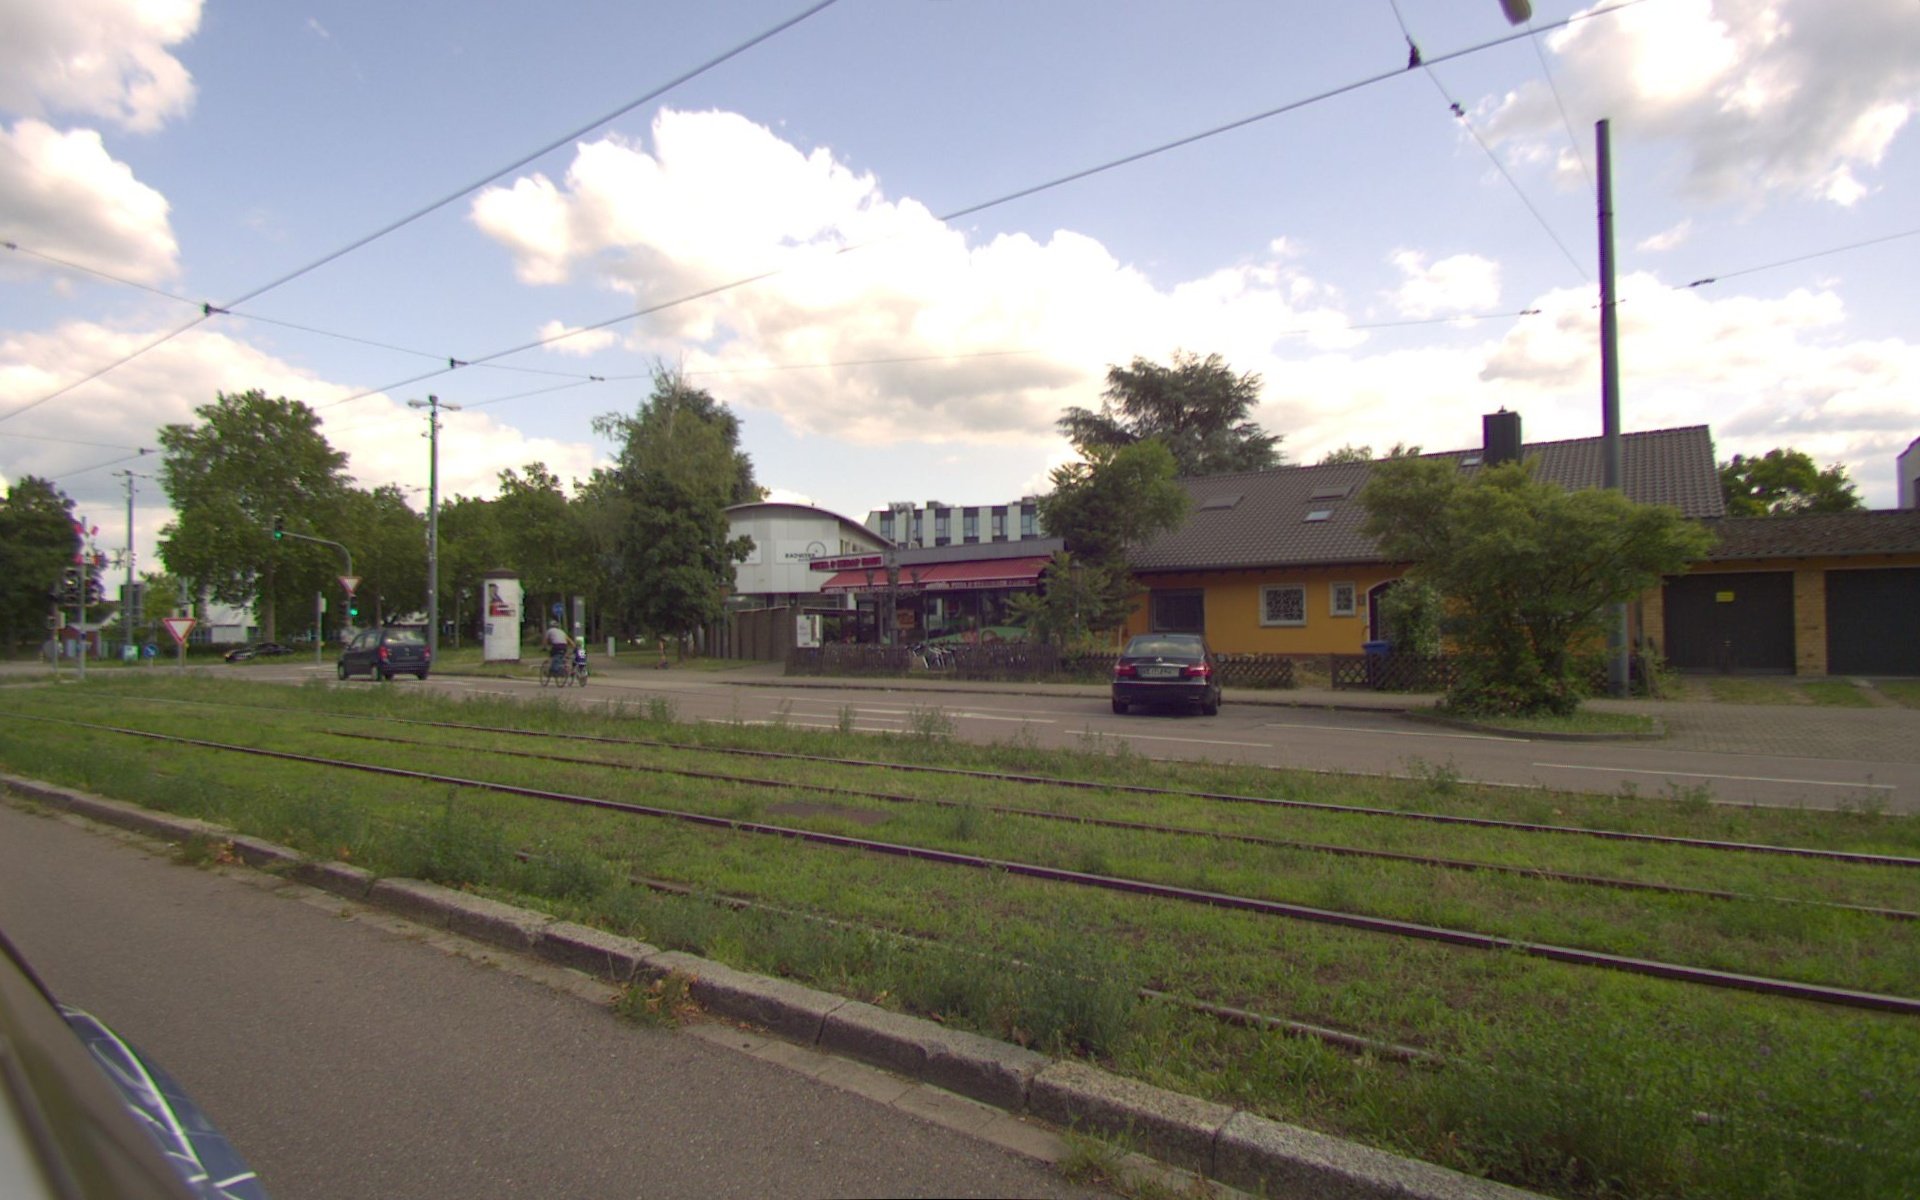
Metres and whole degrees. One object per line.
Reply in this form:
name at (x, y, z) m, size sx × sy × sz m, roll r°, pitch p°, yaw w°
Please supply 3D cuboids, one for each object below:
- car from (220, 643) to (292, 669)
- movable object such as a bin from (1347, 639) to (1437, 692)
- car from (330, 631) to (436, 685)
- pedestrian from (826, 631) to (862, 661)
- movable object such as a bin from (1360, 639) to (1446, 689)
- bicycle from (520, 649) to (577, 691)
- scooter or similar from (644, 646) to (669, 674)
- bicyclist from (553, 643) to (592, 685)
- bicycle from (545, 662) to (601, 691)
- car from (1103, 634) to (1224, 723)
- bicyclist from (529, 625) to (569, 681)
car at (-44.457, 3.533, 63.996) m, size 1.677 × 1.535 × 3.852 m, roll -1°, pitch -2°, yaw 4°
movable object such as a bin at (9.608, 1.442, 22.498) m, size 1.614 × 1.109 × 1.243 m, roll -2°, pitch -2°, yaw 35°
car at (-18.566, 1.821, 32.532) m, size 3.491 × 1.639 × 1.761 m, roll -2°, pitch -2°, yaw 38°
pedestrian at (-4.685, 1.852, 40.889) m, size 0.930 × 1.155 × 1.142 m, roll -2°, pitch -2°, yaw 37°
movable object such as a bin at (10.394, 1.475, 23.723) m, size 1.614 × 1.101 × 1.243 m, roll -2°, pitch -2°, yaw 35°
bicycle at (-11.004, 1.858, 27.047) m, size 1.803 × 1.088 × 0.639 m, roll -2°, pitch -3°, yaw 39°
scooter or similar at (-11.757, 2.311, 39.249) m, size 0.421 × 1.041 × 1.224 m, roll 1°, pitch -3°, yaw -43°
bicyclist at (-10.585, 1.732, 27.636) m, size 0.928 × 1.121 × 0.633 m, roll -2°, pitch -3°, yaw 39°
bicycle at (-10.560, 2.070, 27.600) m, size 1.803 × 0.723 × 0.639 m, roll -2°, pitch -2°, yaw 39°
car at (3.948, 1.374, 19.044) m, size 1.867 × 1.418 × 4.626 m, roll 0°, pitch -2°, yaw 16°
bicyclist at (-10.983, 1.400, 27.050) m, size 0.927 × 1.468 × 0.617 m, roll -2°, pitch -3°, yaw 39°
